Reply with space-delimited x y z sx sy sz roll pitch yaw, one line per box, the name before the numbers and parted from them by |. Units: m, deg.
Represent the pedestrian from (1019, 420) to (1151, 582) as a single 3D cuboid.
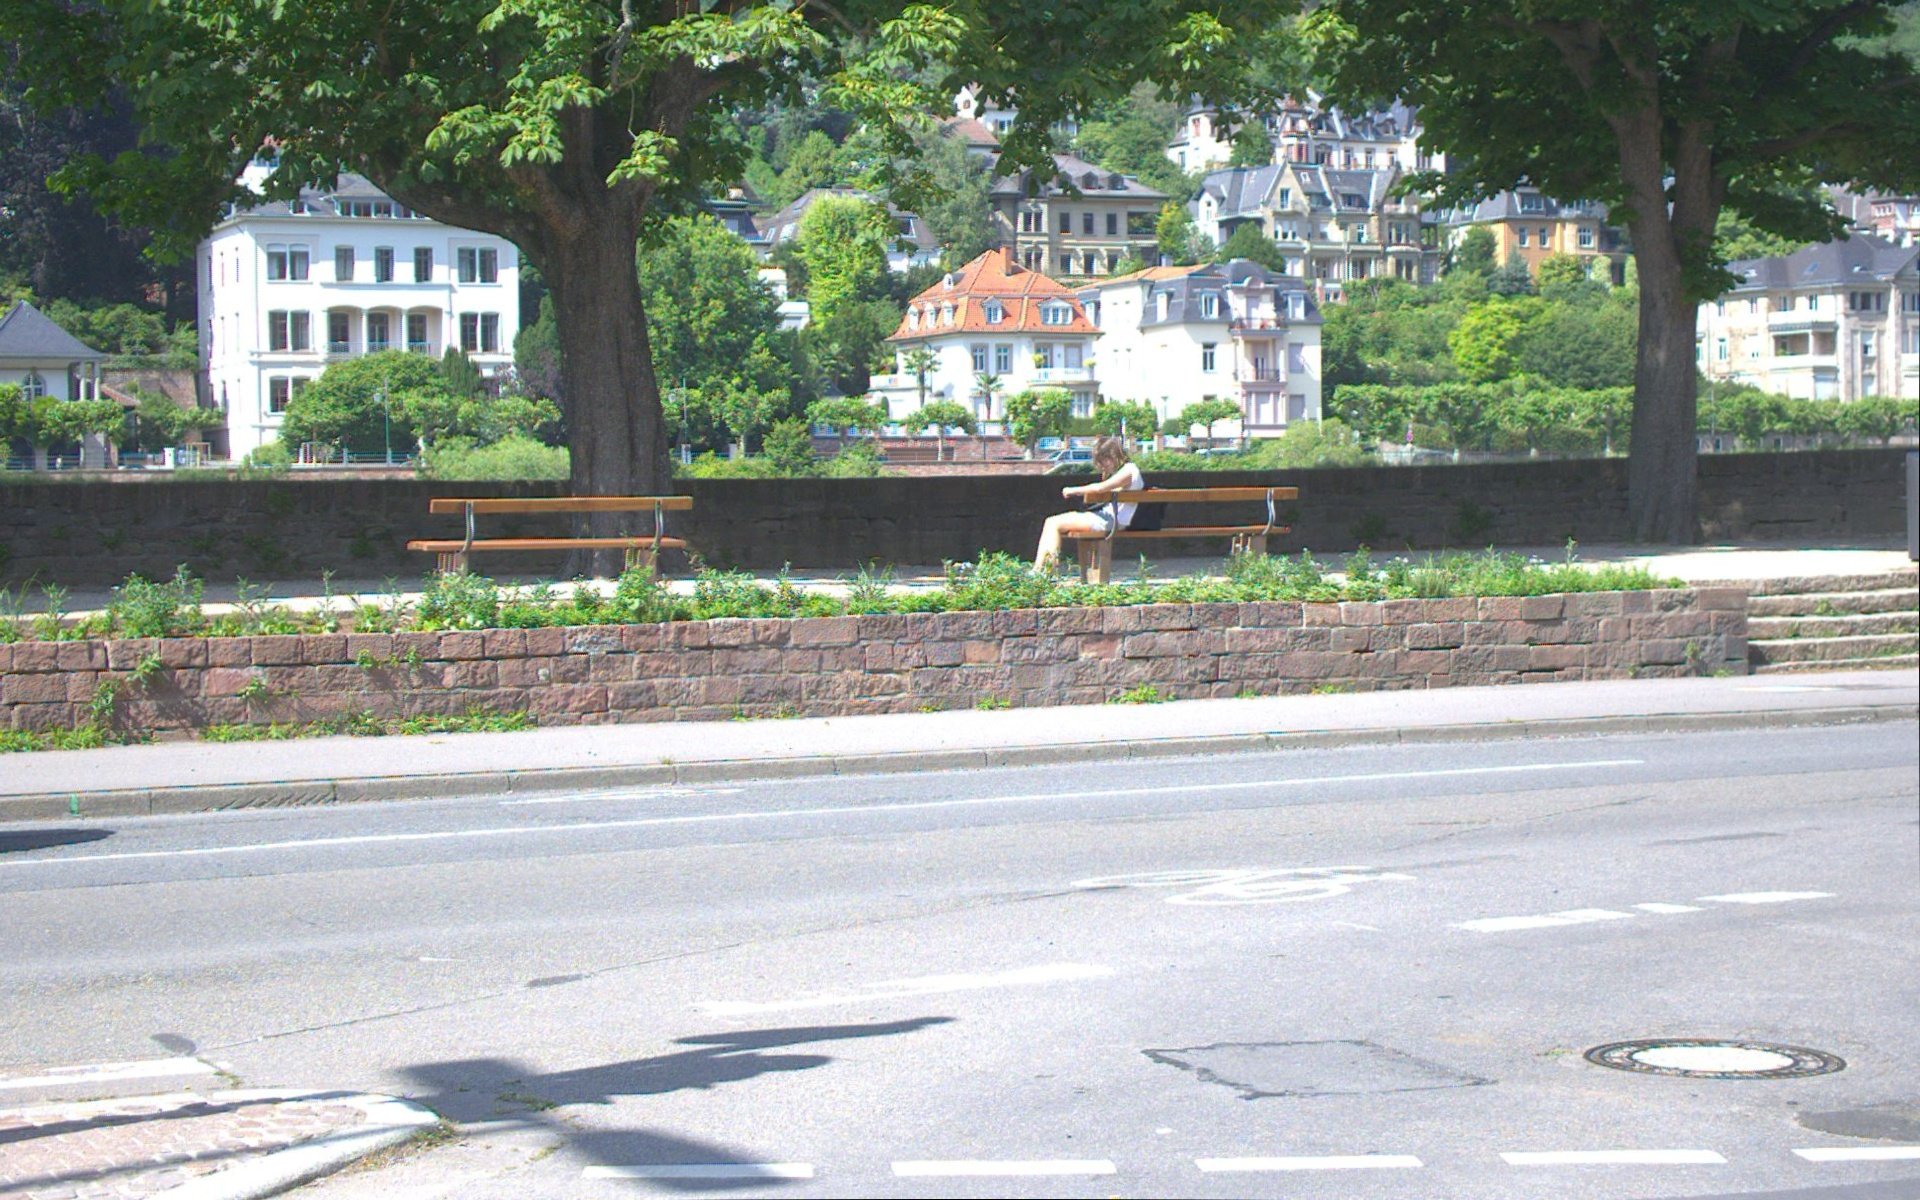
pedestrian | 0.985 -0.770 27.103 0.797 1.207 0.715 1 -3 -24
